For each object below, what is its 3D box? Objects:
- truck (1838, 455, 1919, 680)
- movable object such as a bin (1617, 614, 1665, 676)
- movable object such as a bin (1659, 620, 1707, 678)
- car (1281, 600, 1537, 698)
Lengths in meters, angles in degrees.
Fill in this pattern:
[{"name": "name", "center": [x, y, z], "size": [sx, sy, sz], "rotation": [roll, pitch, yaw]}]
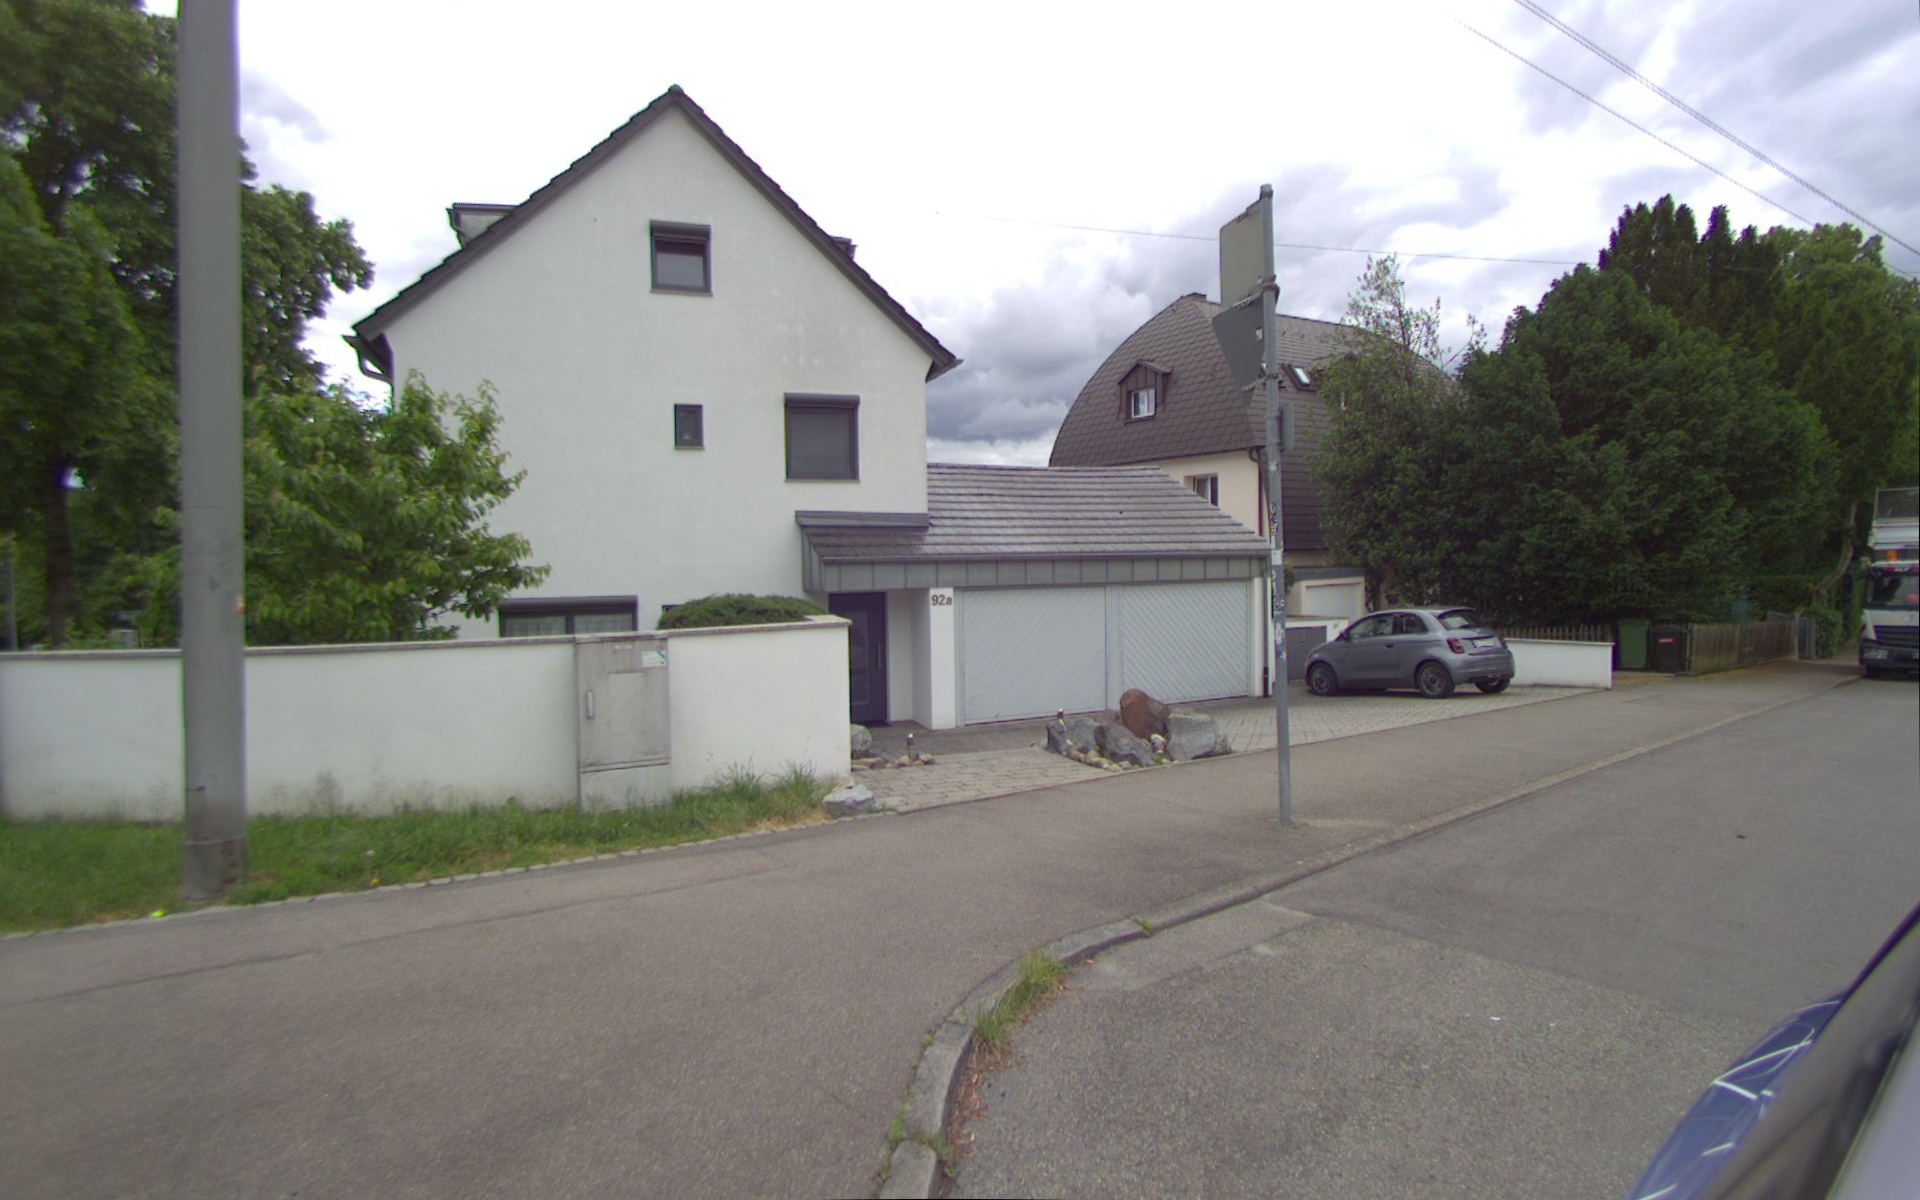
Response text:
[{"name": "truck", "center": [22.740, -0.669, 23.217], "size": [7.820, 4.608, 3.148], "rotation": [0, 1, -44]}, {"name": "movable object such as a bin", "center": [13.943, 0.928, 20.729], "size": [0.936, 1.223, 0.598], "rotation": [4, -5, -44]}, {"name": "movable object such as a bin", "center": [14.508, 0.985, 20.297], "size": [0.936, 1.120, 0.598], "rotation": [4, -5, -44]}, {"name": "car", "center": [7.739, 0.880, 17.840], "size": [1.658, 1.516, 3.862], "rotation": [0, -4, -28]}]
